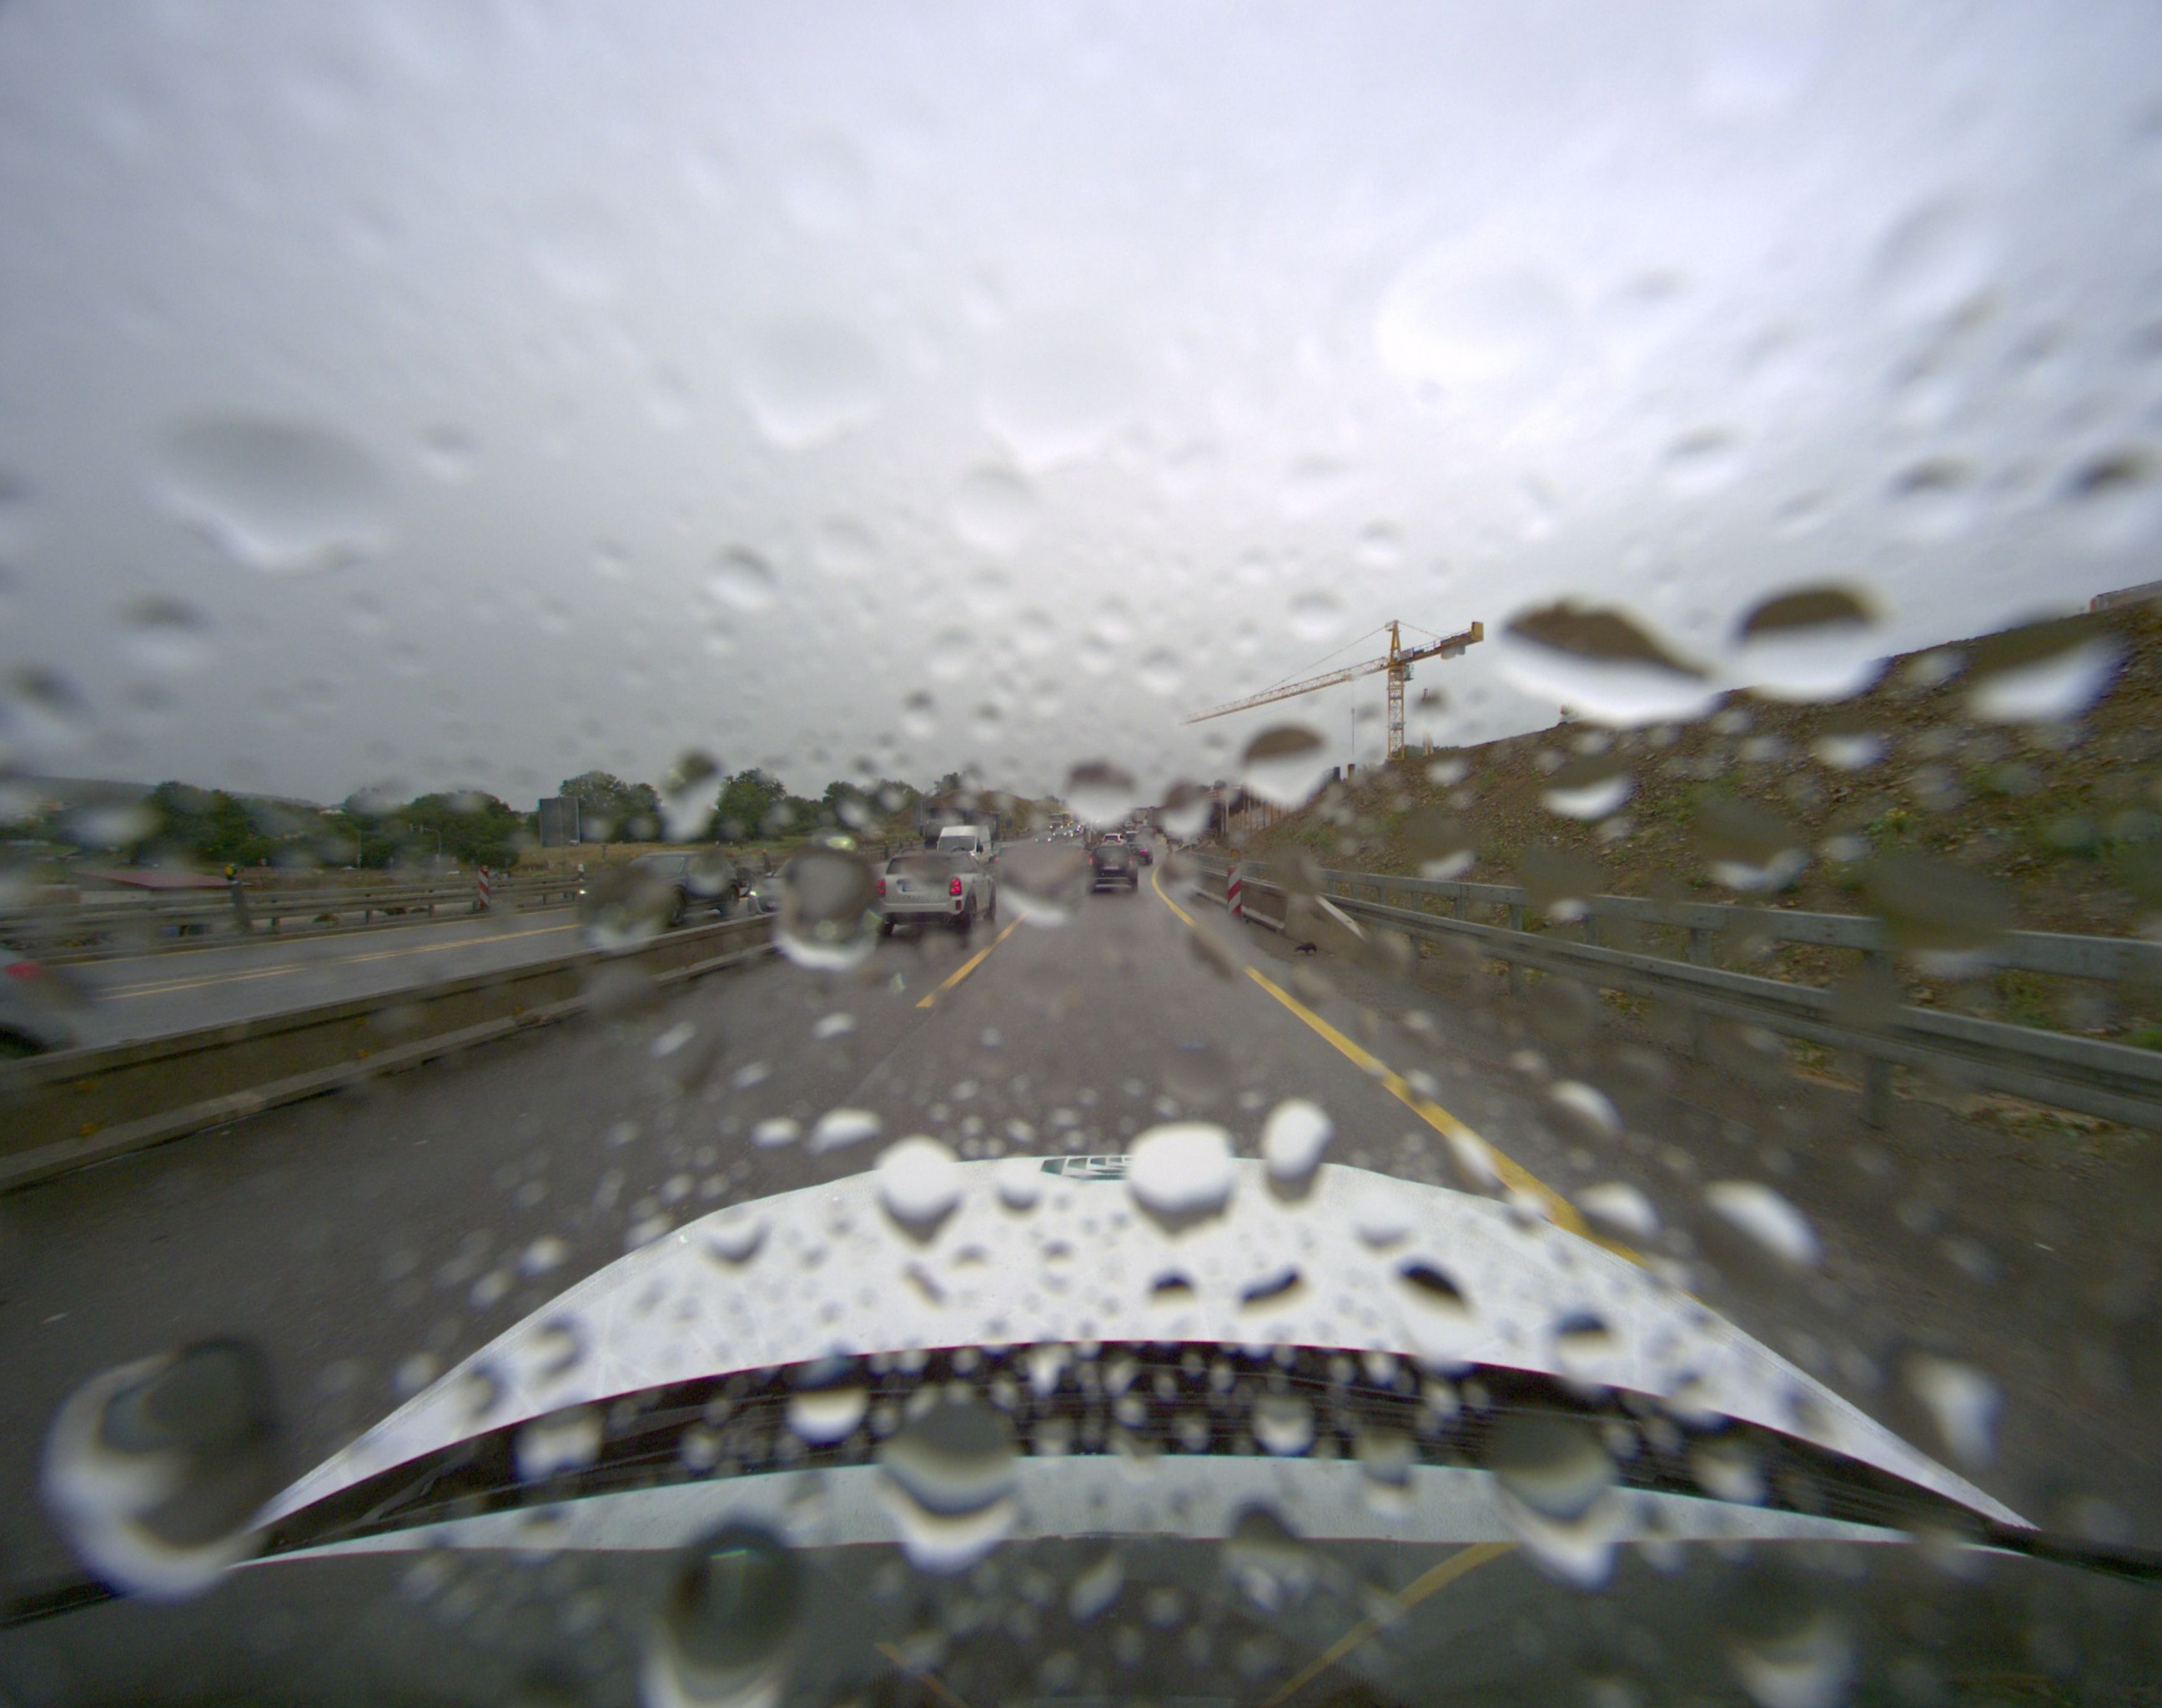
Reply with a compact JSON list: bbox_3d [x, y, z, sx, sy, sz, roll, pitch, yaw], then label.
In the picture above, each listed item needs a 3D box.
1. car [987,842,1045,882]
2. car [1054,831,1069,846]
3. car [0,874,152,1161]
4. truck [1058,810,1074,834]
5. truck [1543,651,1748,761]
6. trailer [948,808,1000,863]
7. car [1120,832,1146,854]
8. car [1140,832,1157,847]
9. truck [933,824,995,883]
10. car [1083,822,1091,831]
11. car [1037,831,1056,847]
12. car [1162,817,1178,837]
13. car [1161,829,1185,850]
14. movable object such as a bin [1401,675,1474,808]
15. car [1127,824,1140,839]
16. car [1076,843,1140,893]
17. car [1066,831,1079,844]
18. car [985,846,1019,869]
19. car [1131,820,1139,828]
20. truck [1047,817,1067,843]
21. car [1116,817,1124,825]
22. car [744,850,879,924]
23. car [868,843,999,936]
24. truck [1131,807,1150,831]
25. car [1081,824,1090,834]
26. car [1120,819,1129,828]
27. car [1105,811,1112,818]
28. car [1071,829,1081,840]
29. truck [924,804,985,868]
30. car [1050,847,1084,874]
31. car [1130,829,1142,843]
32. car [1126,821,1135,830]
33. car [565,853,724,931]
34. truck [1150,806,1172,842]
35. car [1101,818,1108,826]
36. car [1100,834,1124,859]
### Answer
[{"bbox_3d":[-2.718,0.361,34.824,1.986,1.600,4.142,-1,-1,2],"label":"car"},{"bbox_3d":[-2.648,-2.077,109.579,1.779,1.810,4.500,-1,-1,2],"label":"car"},{"bbox_3d":[-6.764,0.896,2.947,1.780,1.538,4.312,-1,0,1],"label":"car"},{"bbox_3d":[-3.482,-7.402,191.020,3.129,5.417,8.528,0,0,2],"label":"truck"},{"bbox_3d":[20.001,-5.131,29.496,2.636,2.555,6.984,-1,-1,1],"label":"truck"},{"bbox_3d":[-8.326,-1.436,64.683,2.737,3.970,9.674,-1,1,0],"label":"trailer"},{"bbox_3d":[5.471,-1.149,85.564,1.979,2.163,4.156,-1,-1,14],"label":"car"},{"bbox_3d":[8.752,-1.846,105.911,1.985,1.761,3.817,-1,-1,3],"label":"car"},{"bbox_3d":[-5.764,-0.050,40.858,2.140,2.713,6.016,-1,0,1],"label":"truck"},{"bbox_3d":[1.614,-7.371,217.327,2.208,2.370,4.666,0,1,2],"label":"car"},{"bbox_3d":[-3.764,-1.641,89.679,1.731,1.684,5.554,0,1,2],"label":"car"},{"bbox_3d":[12.544,-3.740,115.082,1.985,2.484,4.987,-1,-1,4],"label":"car"},{"bbox_3d":[10.327,-1.539,90.879,1.979,2.163,4.157,-1,-1,15],"label":"car"},{"bbox_3d":[33.307,-10.151,76.731,4.683,10.843,10.345,-1,-2,16],"label":"movable object such as a bin"},{"bbox_3d":[8.522,-3.616,132.216,1.983,2.163,4.147,-1,-1,6],"label":"car"},{"bbox_3d":[0.961,0.497,28.825,2.073,1.600,4.142,-1,-1,2],"label":"car"},{"bbox_3d":[-1.200,-2.455,123.421,1.779,1.810,4.500,-1,-1,2],"label":"car"},{"bbox_3d":[-5.422,0.203,56.315,1.862,1.471,4.671,-1,1,0],"label":"car"},{"bbox_3d":[15.583,-8.690,236.489,1.987,2.014,4.000,-1,-1,1],"label":"car"},{"bbox_3d":[-4.593,-4.547,156.814,3.071,4.919,8.569,0,1,2],"label":"truck"},{"bbox_3d":[10.927,-9.228,226.662,1.986,2.013,4.001,-2,0,1],"label":"car"},{"bbox_3d":[-6.269,0.691,19.489,1.671,1.524,4.345,-1,0,1],"label":"car"},{"bbox_3d":[-2.825,0.649,16.523,1.810,1.600,4.307,-1,-1,0],"label":"car"},{"bbox_3d":[14.399,-8.327,196.745,3.791,5.043,12.921,-1,-1,1],"label":"truck"},{"bbox_3d":[1.129,-6.154,203.032,2.230,2.358,4.880,0,1,2],"label":"car"},{"bbox_3d":[10.756,-7.502,200.108,1.986,2.013,4.001,-2,0,1],"label":"car"},{"bbox_3d":[8.797,-12.537,258.780,1.986,2.014,4.000,-1,-1,1],"label":"car"},{"bbox_3d":[-0.914,-3.380,144.204,1.616,1.810,3.639,-1,-1,2],"label":"car"},{"bbox_3d":[-8.408,-1.213,55.246,2.633,3.970,9.213,-1,1,0],"label":"truck"},{"bbox_3d":[-0.845,0.435,51.260,1.987,1.600,4.139,-1,-1,0],"label":"car"},{"bbox_3d":[9.627,-3.196,143.636,1.986,2.163,4.142,-1,-1,2],"label":"car"},{"bbox_3d":[11.054,-6.348,182.285,1.842,1.894,4.023,-1,-1,2],"label":"car"},{"bbox_3d":[-9.697,0.770,18.457,1.723,1.524,3.870,-1,0,-5],"label":"car"},{"bbox_3d":[13.531,-4.888,137.124,3.083,5.426,9.466,-1,-1,9],"label":"truck"},{"bbox_3d":[7.014,-9.579,244.697,1.986,2.014,4.000,-1,-1,1],"label":"car"},{"bbox_3d":[2.656,-0.619,71.653,1.987,2.014,3.893,-1,-1,1],"label":"car"}]
